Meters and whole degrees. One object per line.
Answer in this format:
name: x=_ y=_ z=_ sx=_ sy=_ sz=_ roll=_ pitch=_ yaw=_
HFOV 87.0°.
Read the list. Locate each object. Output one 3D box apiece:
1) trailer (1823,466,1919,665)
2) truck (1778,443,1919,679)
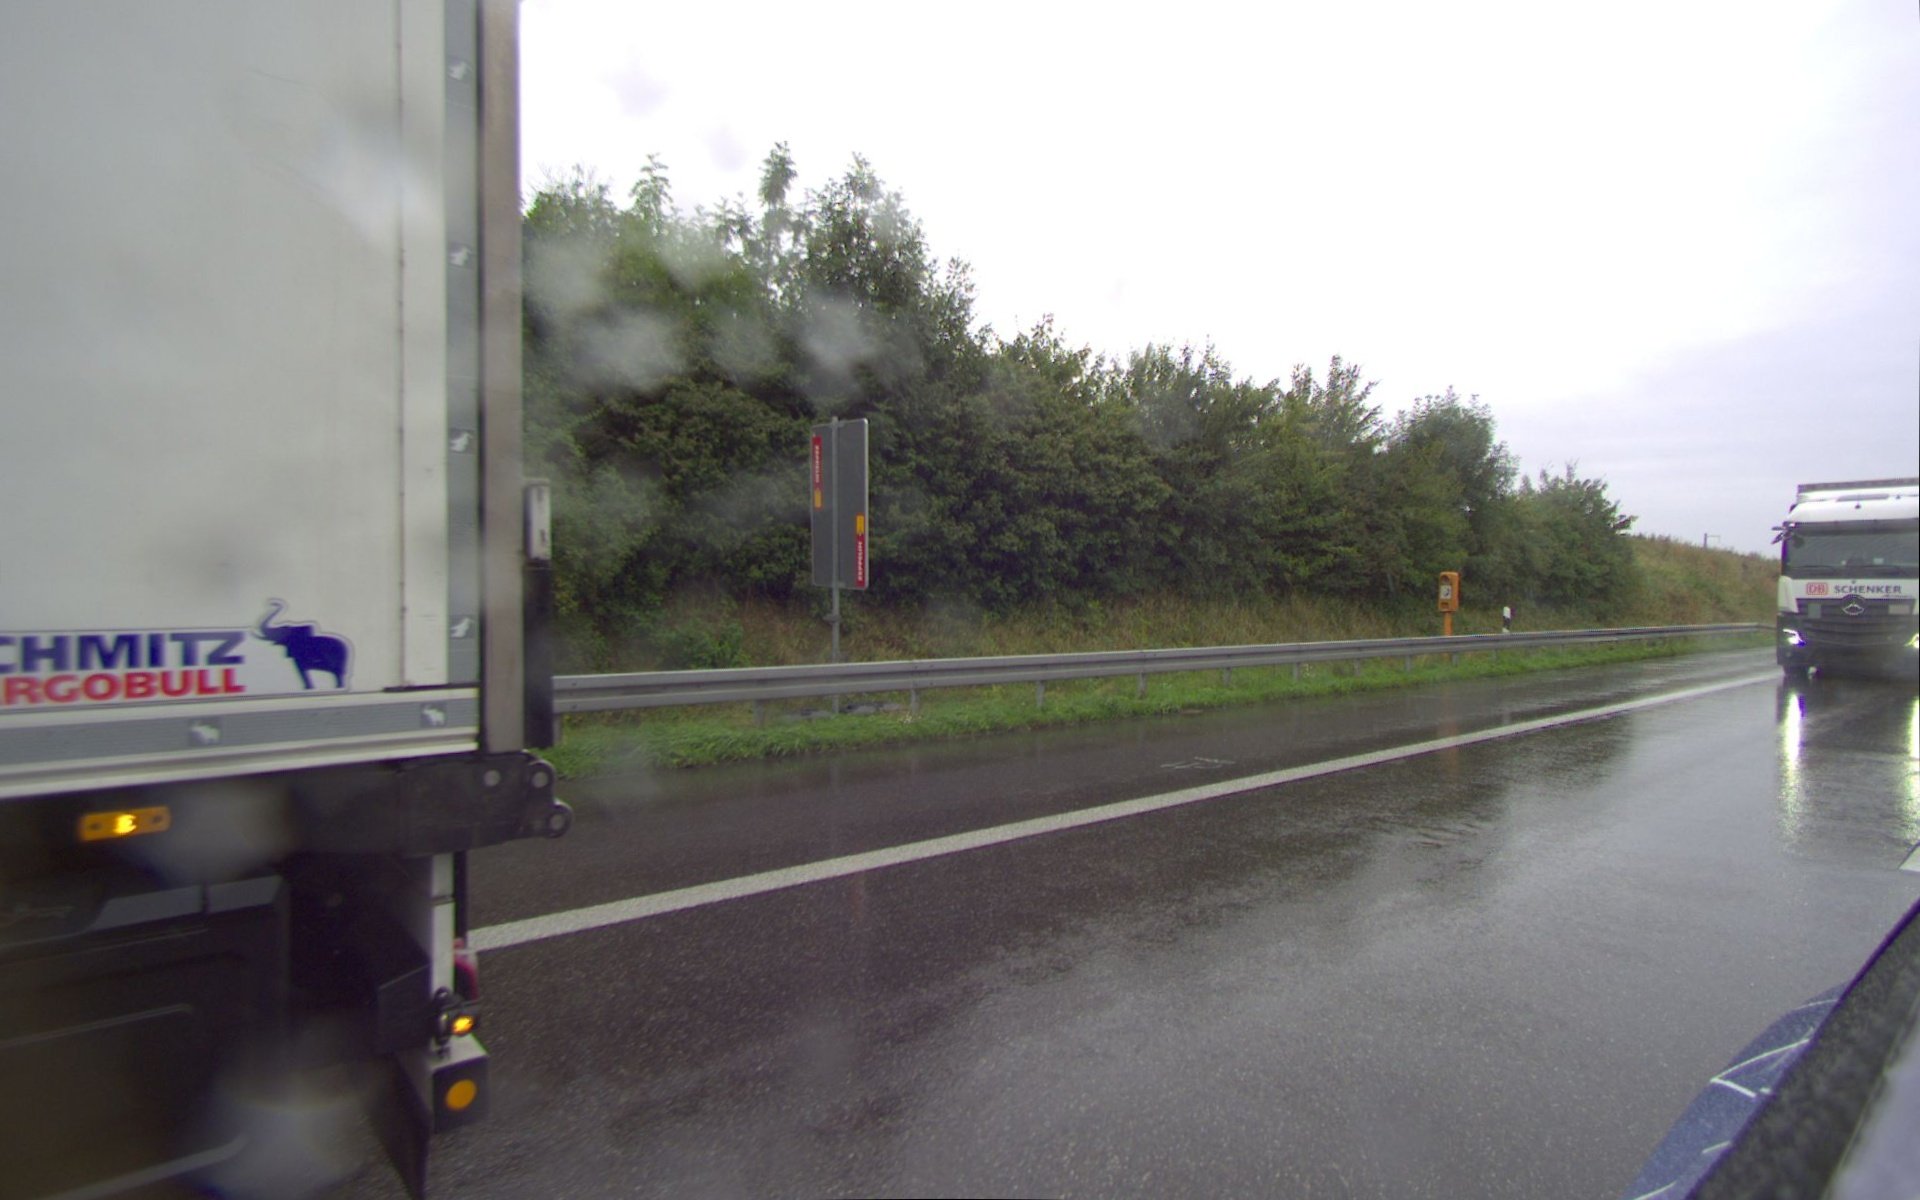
trailer: x=25.783 y=-0.791 z=26.582 sx=13.927 sy=4.302 sz=2.631 roll=0 pitch=0 yaw=-41
truck: x=18.918 y=-0.732 z=20.675 sx=4.955 sy=4.307 sz=2.630 roll=0 pitch=0 yaw=-41
